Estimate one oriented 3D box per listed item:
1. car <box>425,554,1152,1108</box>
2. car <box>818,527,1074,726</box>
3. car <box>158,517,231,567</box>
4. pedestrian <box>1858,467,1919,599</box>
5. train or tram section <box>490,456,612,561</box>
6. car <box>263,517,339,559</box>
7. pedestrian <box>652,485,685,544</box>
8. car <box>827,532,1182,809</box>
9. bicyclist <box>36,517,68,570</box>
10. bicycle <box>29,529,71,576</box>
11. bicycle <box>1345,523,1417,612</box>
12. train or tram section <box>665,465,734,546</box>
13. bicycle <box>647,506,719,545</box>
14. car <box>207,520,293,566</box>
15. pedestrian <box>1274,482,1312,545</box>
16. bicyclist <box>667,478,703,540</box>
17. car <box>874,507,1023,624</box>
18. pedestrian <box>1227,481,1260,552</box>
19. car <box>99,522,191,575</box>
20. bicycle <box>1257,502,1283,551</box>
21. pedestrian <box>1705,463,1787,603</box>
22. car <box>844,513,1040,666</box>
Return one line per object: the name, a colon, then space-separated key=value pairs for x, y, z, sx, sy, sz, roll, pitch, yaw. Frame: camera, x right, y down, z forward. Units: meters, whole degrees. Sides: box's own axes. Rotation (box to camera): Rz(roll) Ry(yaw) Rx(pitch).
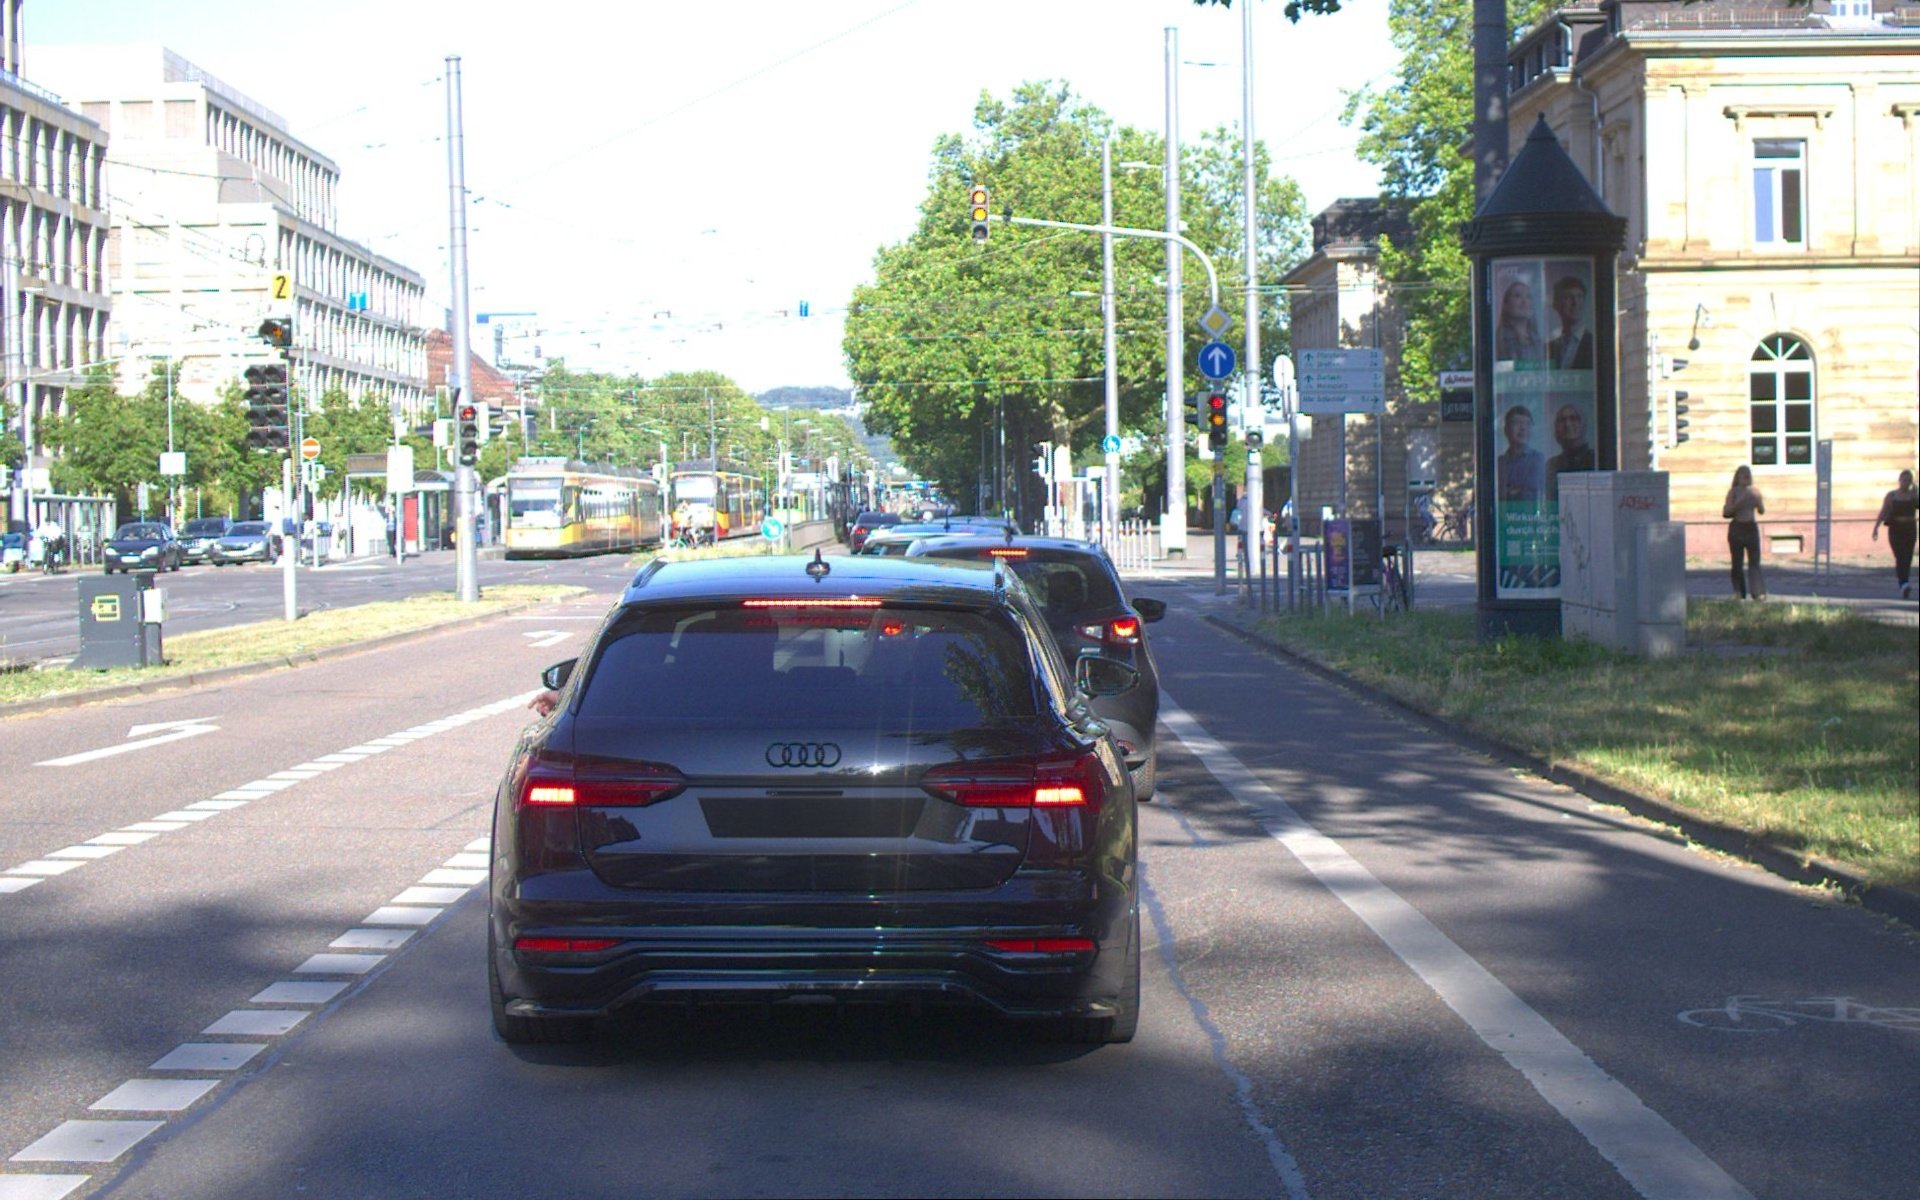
car: x=-0.452 y=0.577 z=11.079 sx=1.902 sy=1.417 sz=4.145 roll=0 pitch=1 yaw=0
car: x=-0.106 y=0.153 z=27.733 sx=1.902 sy=1.481 sz=4.145 roll=0 pitch=1 yaw=0
car: x=-28.442 y=-2.169 z=127.898 sx=1.842 sy=1.806 sz=4.113 roll=-1 pitch=2 yaw=-1
pedestrian: x=11.665 y=-0.838 z=42.687 sx=0.769 sy=1.600 sz=0.986 roll=-1 pitch=1 yaw=1
train or tram section: x=-14.444 y=-3.275 z=122.348 sx=2.813 sy=3.477 sz=13.205 roll=-1 pitch=2 yaw=0
car: x=-23.875 y=-2.253 z=124.660 sx=1.820 sy=1.452 sz=4.157 roll=-1 pitch=2 yaw=2
pedestrian: x=-8.733 y=-2.559 z=102.871 sx=0.740 sy=1.735 sz=0.663 roll=-2 pitch=2 yaw=-29
car: x=0.238 y=0.338 z=20.558 sx=1.902 sy=1.481 sz=4.145 roll=0 pitch=1 yaw=0
bicyclist: x=-27.272 y=-1.701 z=103.251 sx=0.685 sy=1.557 sz=0.785 roll=-1 pitch=1 yaw=1
bicycle: x=-27.335 y=-1.444 z=103.275 sx=0.685 sy=1.377 sz=1.947 roll=-1 pitch=1 yaw=1
bicycle: x=5.173 y=-0.414 z=42.316 sx=0.540 sy=1.058 sz=1.772 roll=-1 pitch=2 yaw=-4
train or tram section: x=-11.605 y=-4.264 z=154.093 sx=2.608 sy=3.439 sz=11.134 roll=-1 pitch=2 yaw=-2
bicycle: x=-8.163 y=-2.189 z=101.325 sx=2.006 sy=1.104 sz=0.764 roll=-2 pitch=2 yaw=-36
car: x=-23.869 y=-1.925 z=115.682 sx=1.820 sy=1.452 sz=4.540 roll=-1 pitch=2 yaw=2
pedestrian: x=9.817 y=-2.553 z=101.336 sx=0.979 sy=1.859 sz=0.827 roll=-1 pitch=2 yaw=-1
bicyclist: x=-8.106 y=-2.671 z=101.344 sx=0.757 sy=1.812 sz=0.764 roll=-2 pitch=2 yaw=-36
car: x=-0.146 y=-0.487 z=45.888 sx=1.902 sy=1.481 sz=4.145 roll=0 pitch=1 yaw=0
pedestrian: x=6.713 y=-1.978 z=81.485 sx=0.682 sy=1.655 sz=0.758 roll=-1 pitch=2 yaw=-2
car: x=-23.642 y=-1.503 z=99.816 sx=1.820 sy=1.452 sz=4.166 roll=-1 pitch=2 yaw=-3
bicycle: x=7.341 y=-1.757 z=81.527 sx=0.434 sy=1.141 sz=1.340 roll=-1 pitch=2 yaw=-2
pedestrian: x=9.797 y=-0.843 z=42.854 sx=0.769 sy=1.703 sz=1.042 roll=-1 pitch=1 yaw=1
car: x=-0.178 y=-0.143 z=35.498 sx=1.902 sy=1.481 sz=4.145 roll=0 pitch=1 yaw=0
